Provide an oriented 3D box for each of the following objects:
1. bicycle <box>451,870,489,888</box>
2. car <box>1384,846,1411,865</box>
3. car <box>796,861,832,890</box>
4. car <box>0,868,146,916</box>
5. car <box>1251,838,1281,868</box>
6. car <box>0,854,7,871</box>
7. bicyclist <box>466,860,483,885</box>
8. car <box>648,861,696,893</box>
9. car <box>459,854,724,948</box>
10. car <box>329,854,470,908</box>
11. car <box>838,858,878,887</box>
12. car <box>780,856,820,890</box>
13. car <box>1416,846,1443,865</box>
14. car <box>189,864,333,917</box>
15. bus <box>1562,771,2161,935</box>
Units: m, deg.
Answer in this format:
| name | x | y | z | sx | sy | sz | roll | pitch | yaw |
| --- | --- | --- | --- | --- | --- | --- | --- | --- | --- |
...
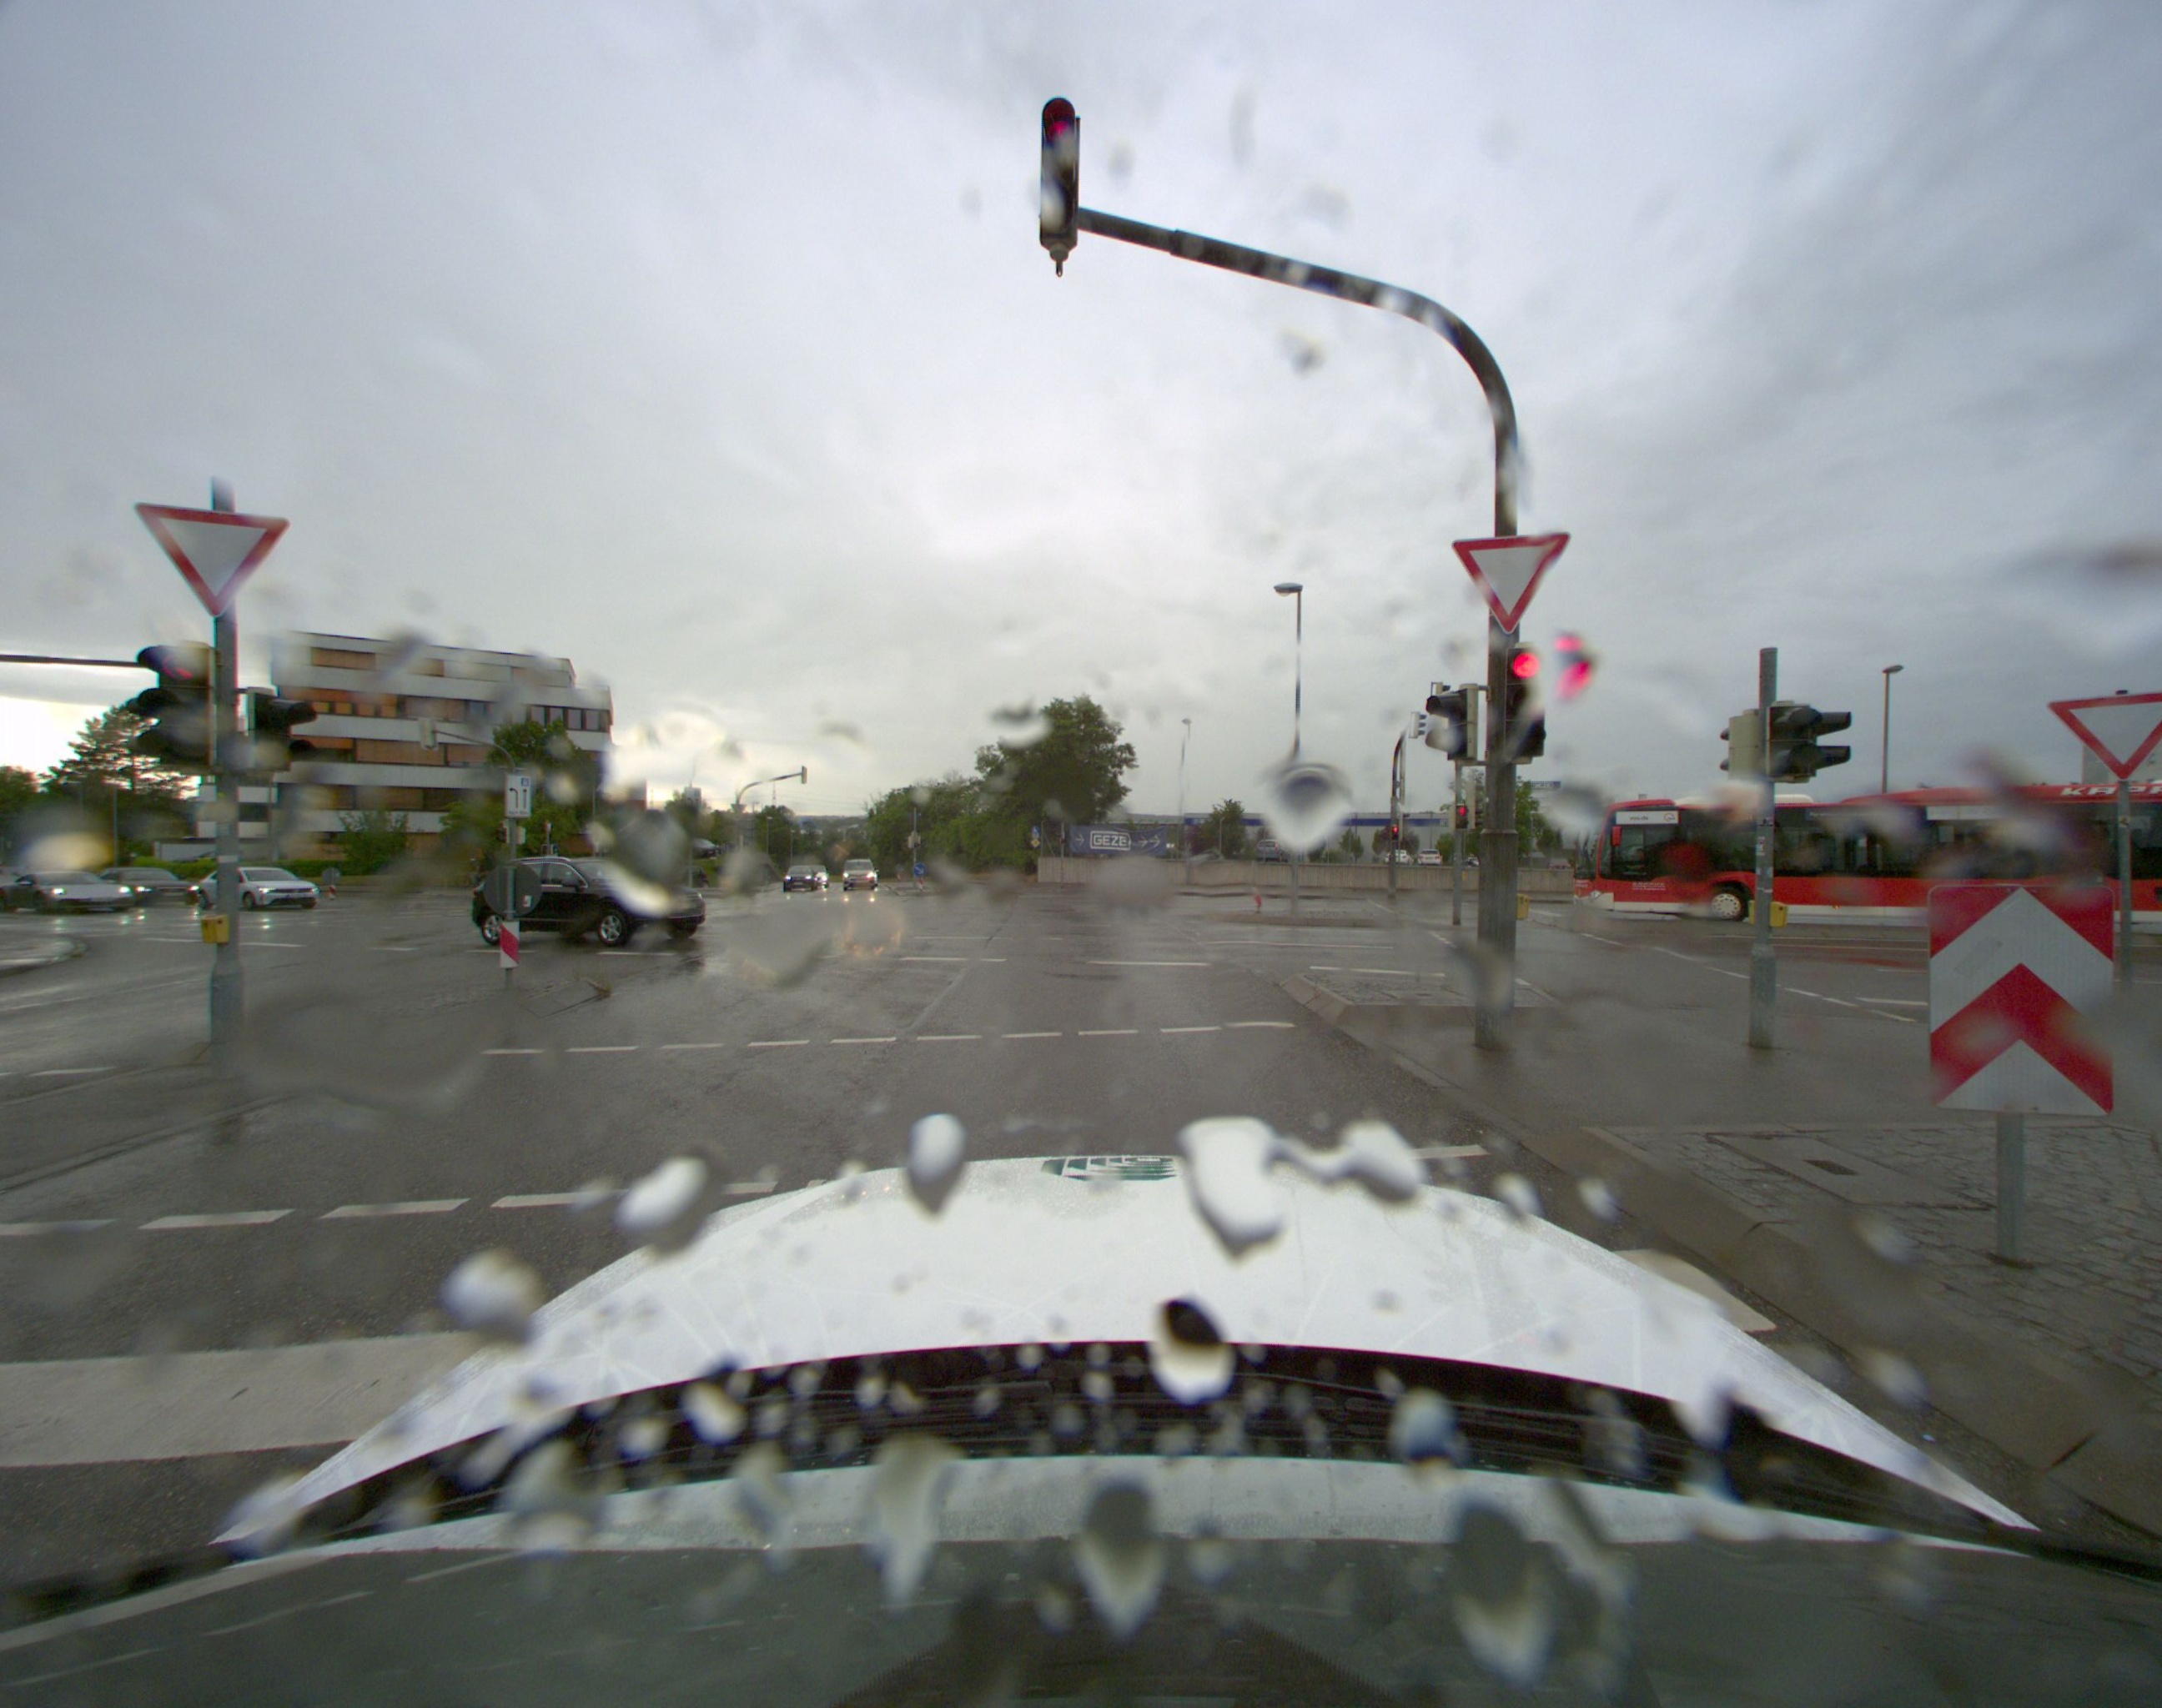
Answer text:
| name | x | y | z | sx | sy | sz | roll | pitch | yaw |
| --- | --- | --- | --- | --- | --- | --- | --- | --- | --- |
| bicycle | -35.772 | 1.441 | 47.688 | 1.769 | 1.052 | 0.609 | 0 | 0 | -2 |
| car | 26.386 | 0.117 | 67.841 | 1.976 | 1.478 | 4.021 | 0 | 0 | 22 |
| car | -18.284 | 1.429 | 55.965 | 1.996 | 1.895 | 3.981 | 0 | 0 | -14 |
| car | -32.618 | 1.189 | 26.331 | 4.392 | 1.358 | 1.867 | 0 | 0 | 23 |
| car | 13.100 | -0.061 | 57.540 | 1.979 | 2.013 | 4.015 | 0 | 0 | 13 |
| car | -102.333 | 0.763 | 76.162 | 3.948 | 1.596 | 1.969 | 0 | 0 | 33 |
| bicyclist | -35.495 | 1.055 | 47.695 | 0.542 | 1.446 | 0.603 | 0 | 0 | -1 |
| car | -26.228 | 1.430 | 52.344 | 1.997 | 1.895 | 3.979 | 0 | 0 | -15 |
| car | -9.878 | 0.906 | 16.532 | 4.561 | 1.702 | 2.009 | -1 | 0 | 16 |
| car | -24.860 | 0.941 | 29.736 | 4.108 | 1.840 | 2.009 | 0 | 0 | 17 |
| car | -13.089 | 1.041 | 48.047 | 1.995 | 1.618 | 3.985 | 0 | 0 | -11 |
| car | -16.771 | 1.087 | 48.761 | 1.998 | 1.895 | 3.978 | 0 | 0 | -16 |
| car | 28.692 | 0.126 | 67.162 | 1.976 | 1.478 | 4.021 | 0 | 0 | 21 |
| car | -28.514 | 1.213 | 28.342 | 3.954 | 1.684 | 2.010 | 0 | 0 | 20 |
| bus | 18.693 | -0.112 | 19.270 | 12.176 | 3.321 | 3.090 | 1 | 0 | 19 |
